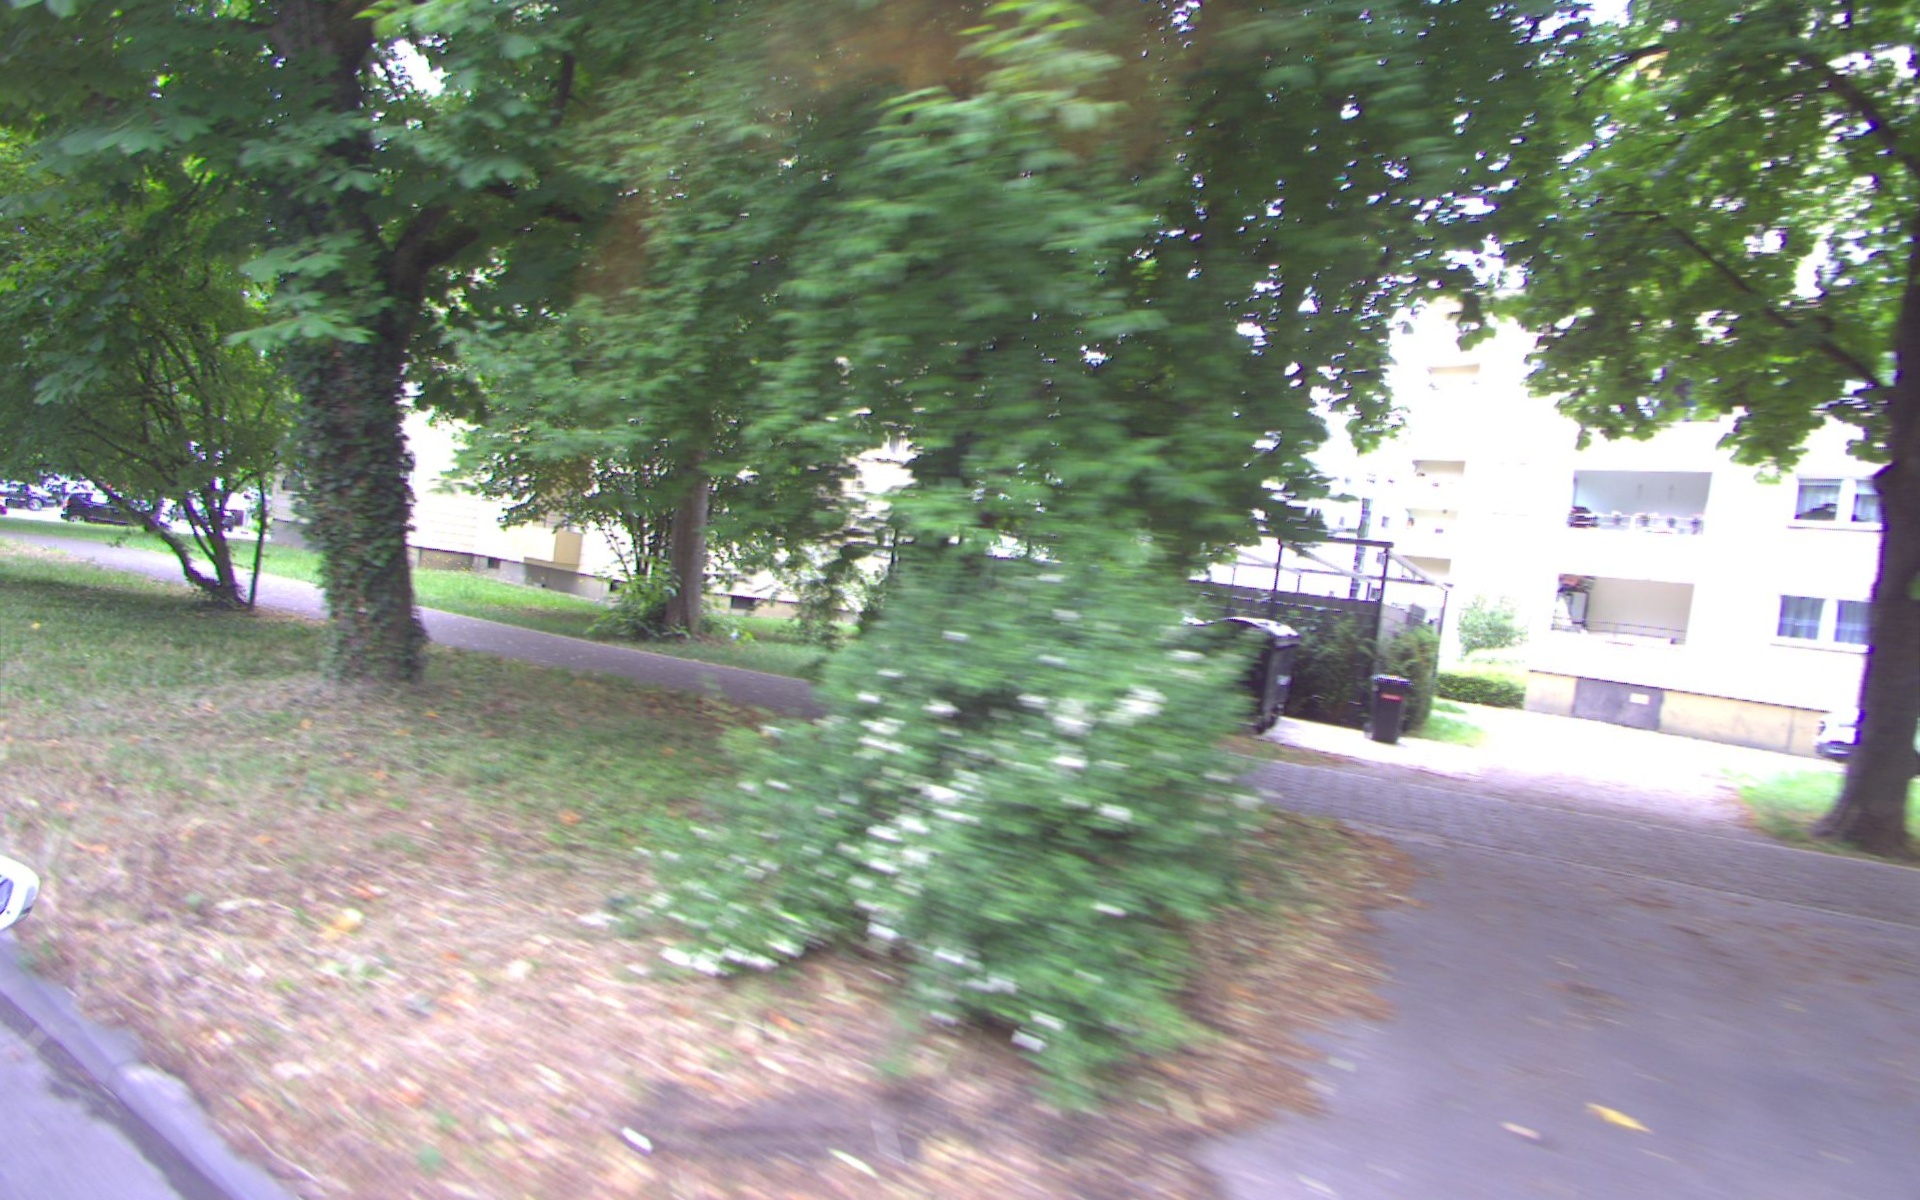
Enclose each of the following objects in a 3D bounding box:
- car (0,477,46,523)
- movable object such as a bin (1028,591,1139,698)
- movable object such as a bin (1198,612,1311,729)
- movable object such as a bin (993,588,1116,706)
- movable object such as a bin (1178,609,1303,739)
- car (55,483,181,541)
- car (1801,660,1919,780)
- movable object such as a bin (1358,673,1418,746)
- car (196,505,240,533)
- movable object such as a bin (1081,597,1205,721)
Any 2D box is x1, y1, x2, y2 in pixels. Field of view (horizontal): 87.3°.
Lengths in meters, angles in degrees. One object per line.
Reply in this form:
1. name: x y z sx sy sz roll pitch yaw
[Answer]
1. car: -39.766 -4.287 40.566 1.773 1.576 3.985 11 1 39
2. movable object such as a bin: 2.020 0.708 16.315 1.291 1.521 1.329 7 2 25
3. movable object such as a bin: 4.425 1.024 15.073 1.291 1.521 1.329 7 2 25
4. movable object such as a bin: 1.417 0.670 14.900 1.291 1.521 1.329 7 2 25
5. movable object such as a bin: 3.853 0.975 13.755 1.291 1.521 1.329 7 2 25
6. car: -36.525 -3.810 43.772 3.970 1.747 1.780 9 2 -38
7. car: 18.023 2.346 17.456 4.889 1.867 2.085 9 3 36
8. movable object such as a bin: 6.023 1.522 14.144 0.657 0.890 0.600 7 2 25
9. car: -49.848 -5.427 67.525 2.073 1.529 3.955 6 1 -40
10. movable object such as a bin: 2.621 0.810 14.334 1.291 1.521 1.329 7 2 25
